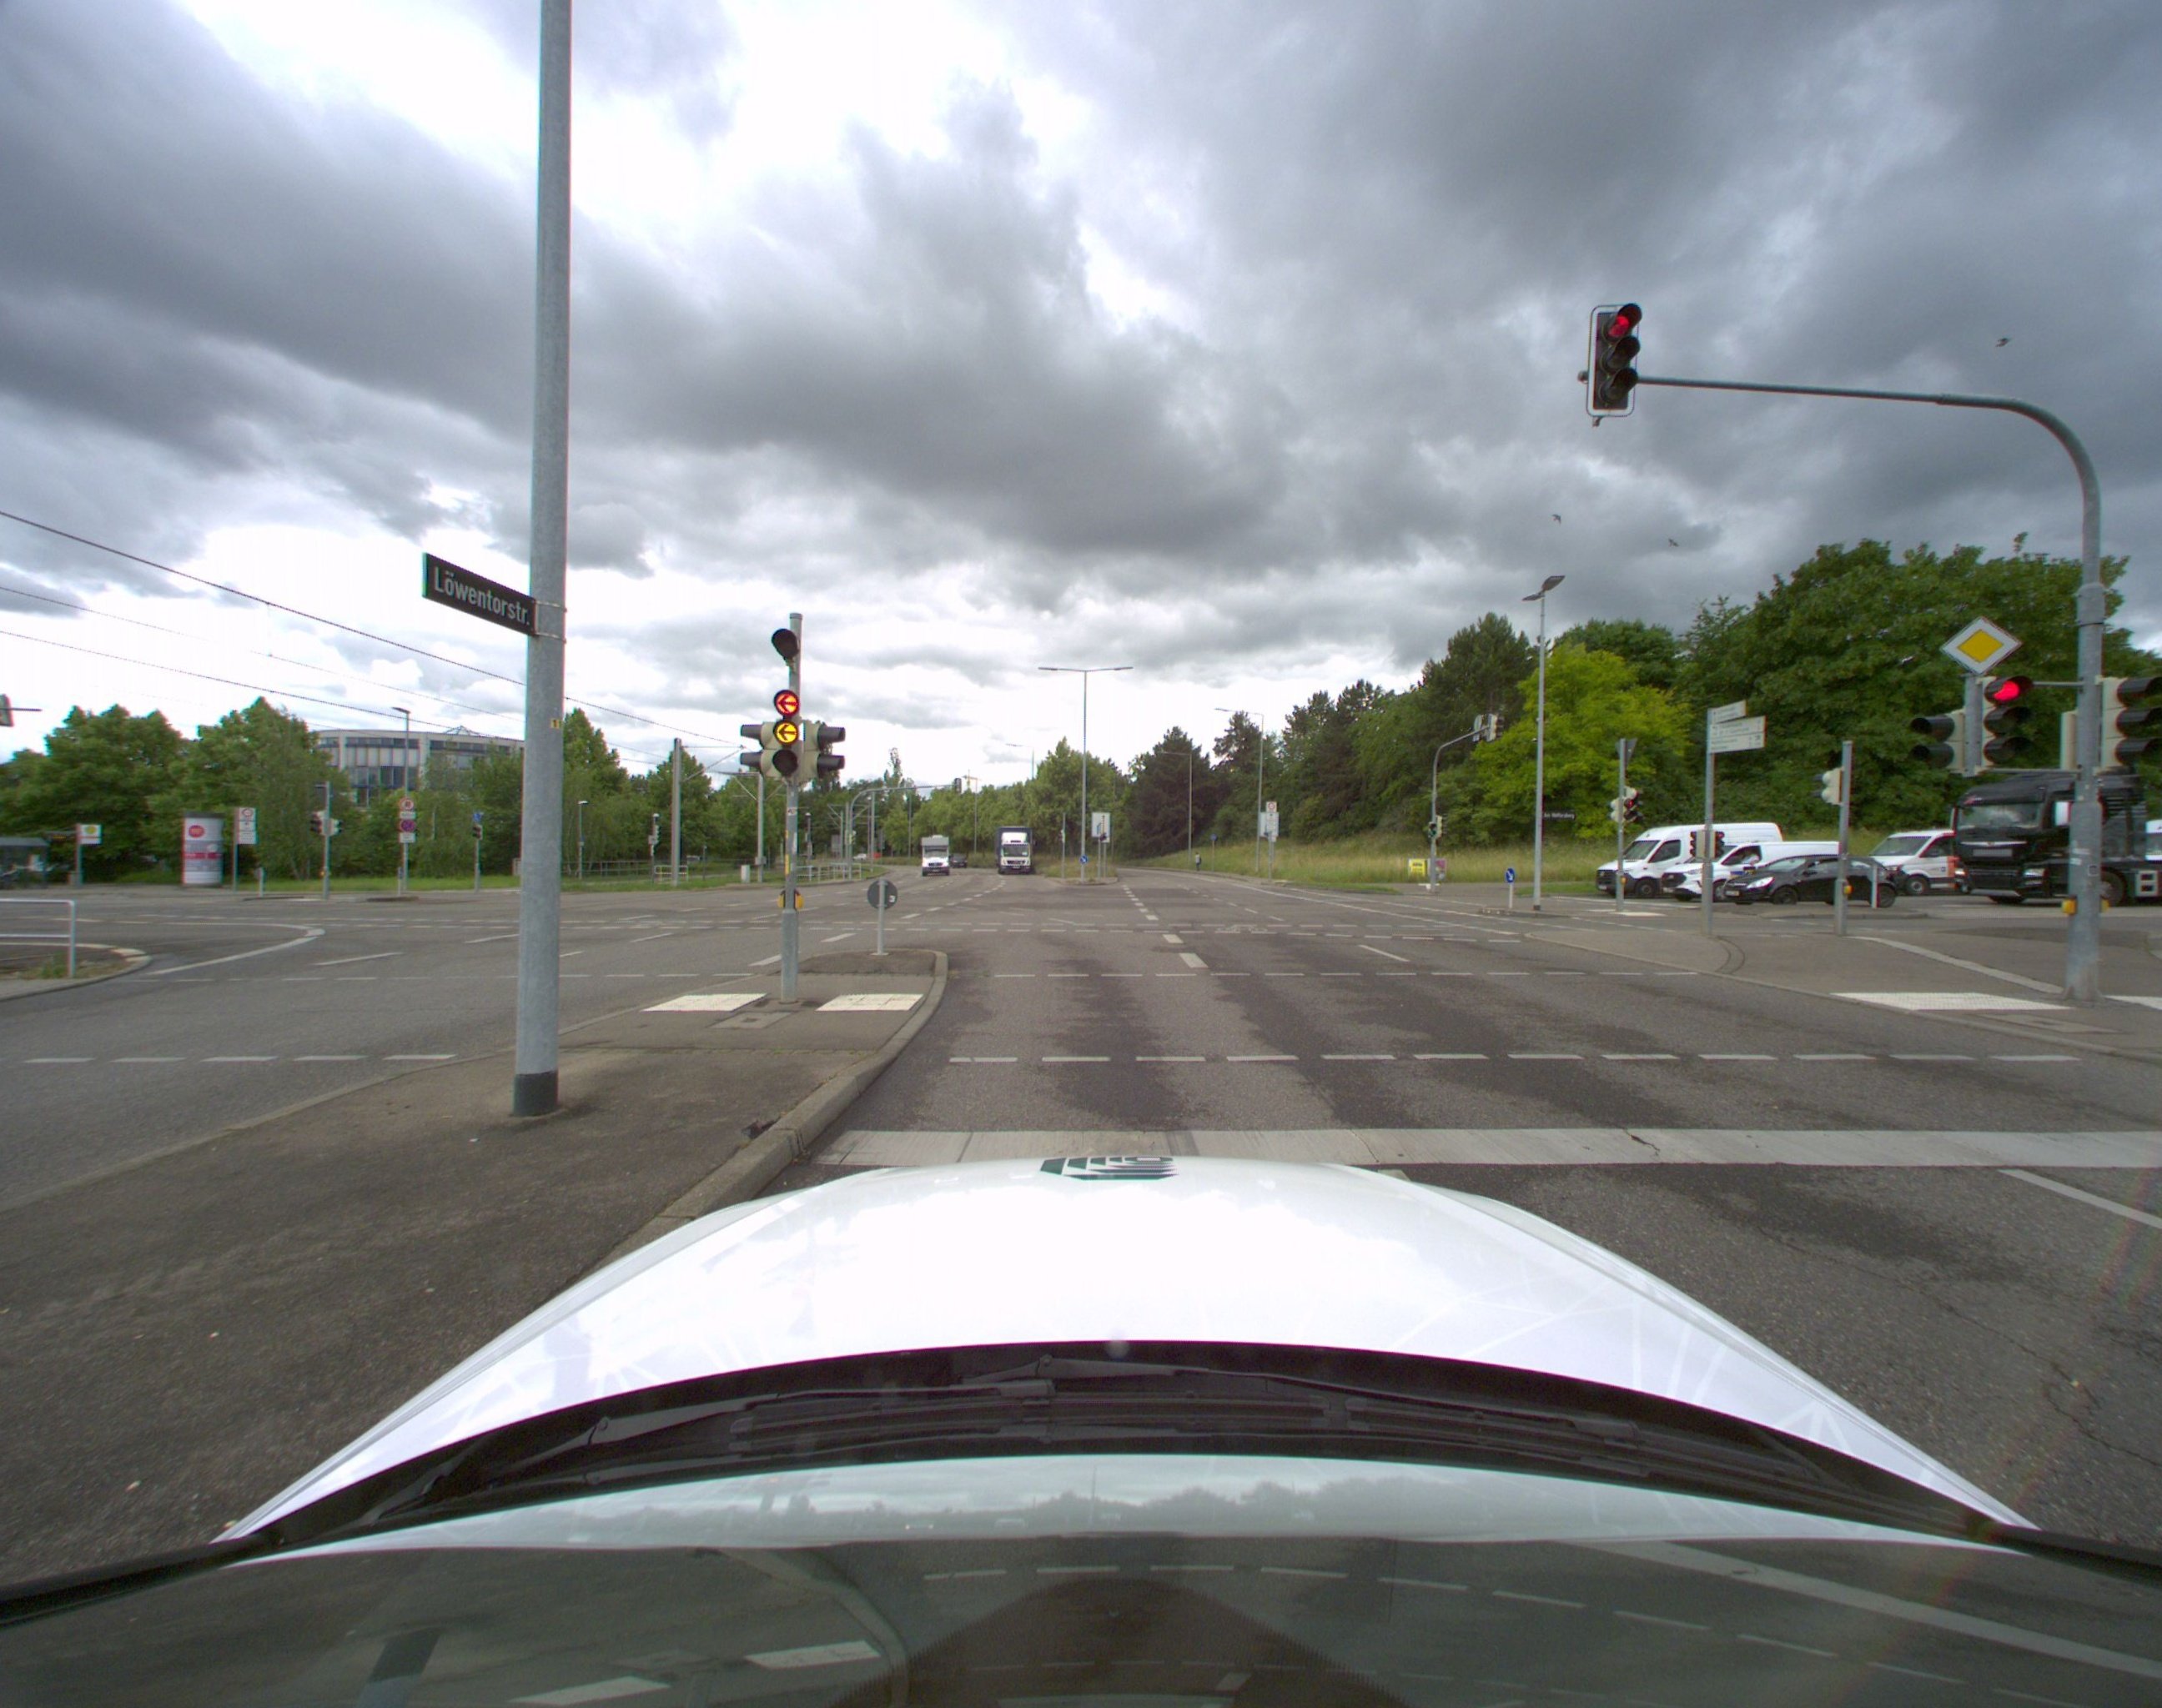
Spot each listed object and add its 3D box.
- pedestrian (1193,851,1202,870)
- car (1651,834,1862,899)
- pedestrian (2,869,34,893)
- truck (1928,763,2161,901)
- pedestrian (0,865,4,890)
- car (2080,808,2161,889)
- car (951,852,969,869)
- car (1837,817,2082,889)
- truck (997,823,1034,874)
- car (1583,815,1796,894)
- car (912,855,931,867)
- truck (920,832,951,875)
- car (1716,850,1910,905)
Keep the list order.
[{"bbox_3d":[10.368,0.566,72.563,0.736,1.717,0.625,0,0,1],"label":"pedestrian"},{"bbox_3d":[21.660,0.420,26.290,4.952,1.991,2.121,-1,-2,2],"label":"car"},{"bbox_3d":[-56.168,1.433,43.042,0.774,1.252,0.769,-1,0,-27],"label":"pedestrian"},{"bbox_3d":[28.036,-0.559,22.487,5.915,3.518,3.077,-1,-1,3],"label":"truck"},{"bbox_3d":[-57.773,1.271,43.135,0.582,1.316,0.734,-1,0,17],"label":"pedestrian"},{"bbox_3d":[39.875,-0.206,28.525,6.635,2.720,2.230,-1,-1,3],"label":"car"},{"bbox_3d":[-14.946,0.776,100.416,1.994,2.013,4.591,0,0,-11],"label":"car"},{"bbox_3d":[30.807,-0.014,28.744,5.913,2.386,2.231,-1,-1,4],"label":"car"},{"bbox_3d":[-5.375,-0.418,66.050,2.774,3.804,8.373,0,0,-5],"label":"truck"},{"bbox_3d":[21.853,0.036,29.460,5.915,2.659,2.230,-1,-1,3],"label":"car"},{"bbox_3d":[-23.082,0.977,117.530,2.001,1.783,3.972,0,0,-21],"label":"car"},{"bbox_3d":[-11.160,-0.044,62.623,2.105,3.010,6.252,-4,0,-10],"label":"truck"},{"bbox_3d":[20.254,0.639,22.655,3.836,1.442,1.638,-1,0,4],"label":"car"}]
